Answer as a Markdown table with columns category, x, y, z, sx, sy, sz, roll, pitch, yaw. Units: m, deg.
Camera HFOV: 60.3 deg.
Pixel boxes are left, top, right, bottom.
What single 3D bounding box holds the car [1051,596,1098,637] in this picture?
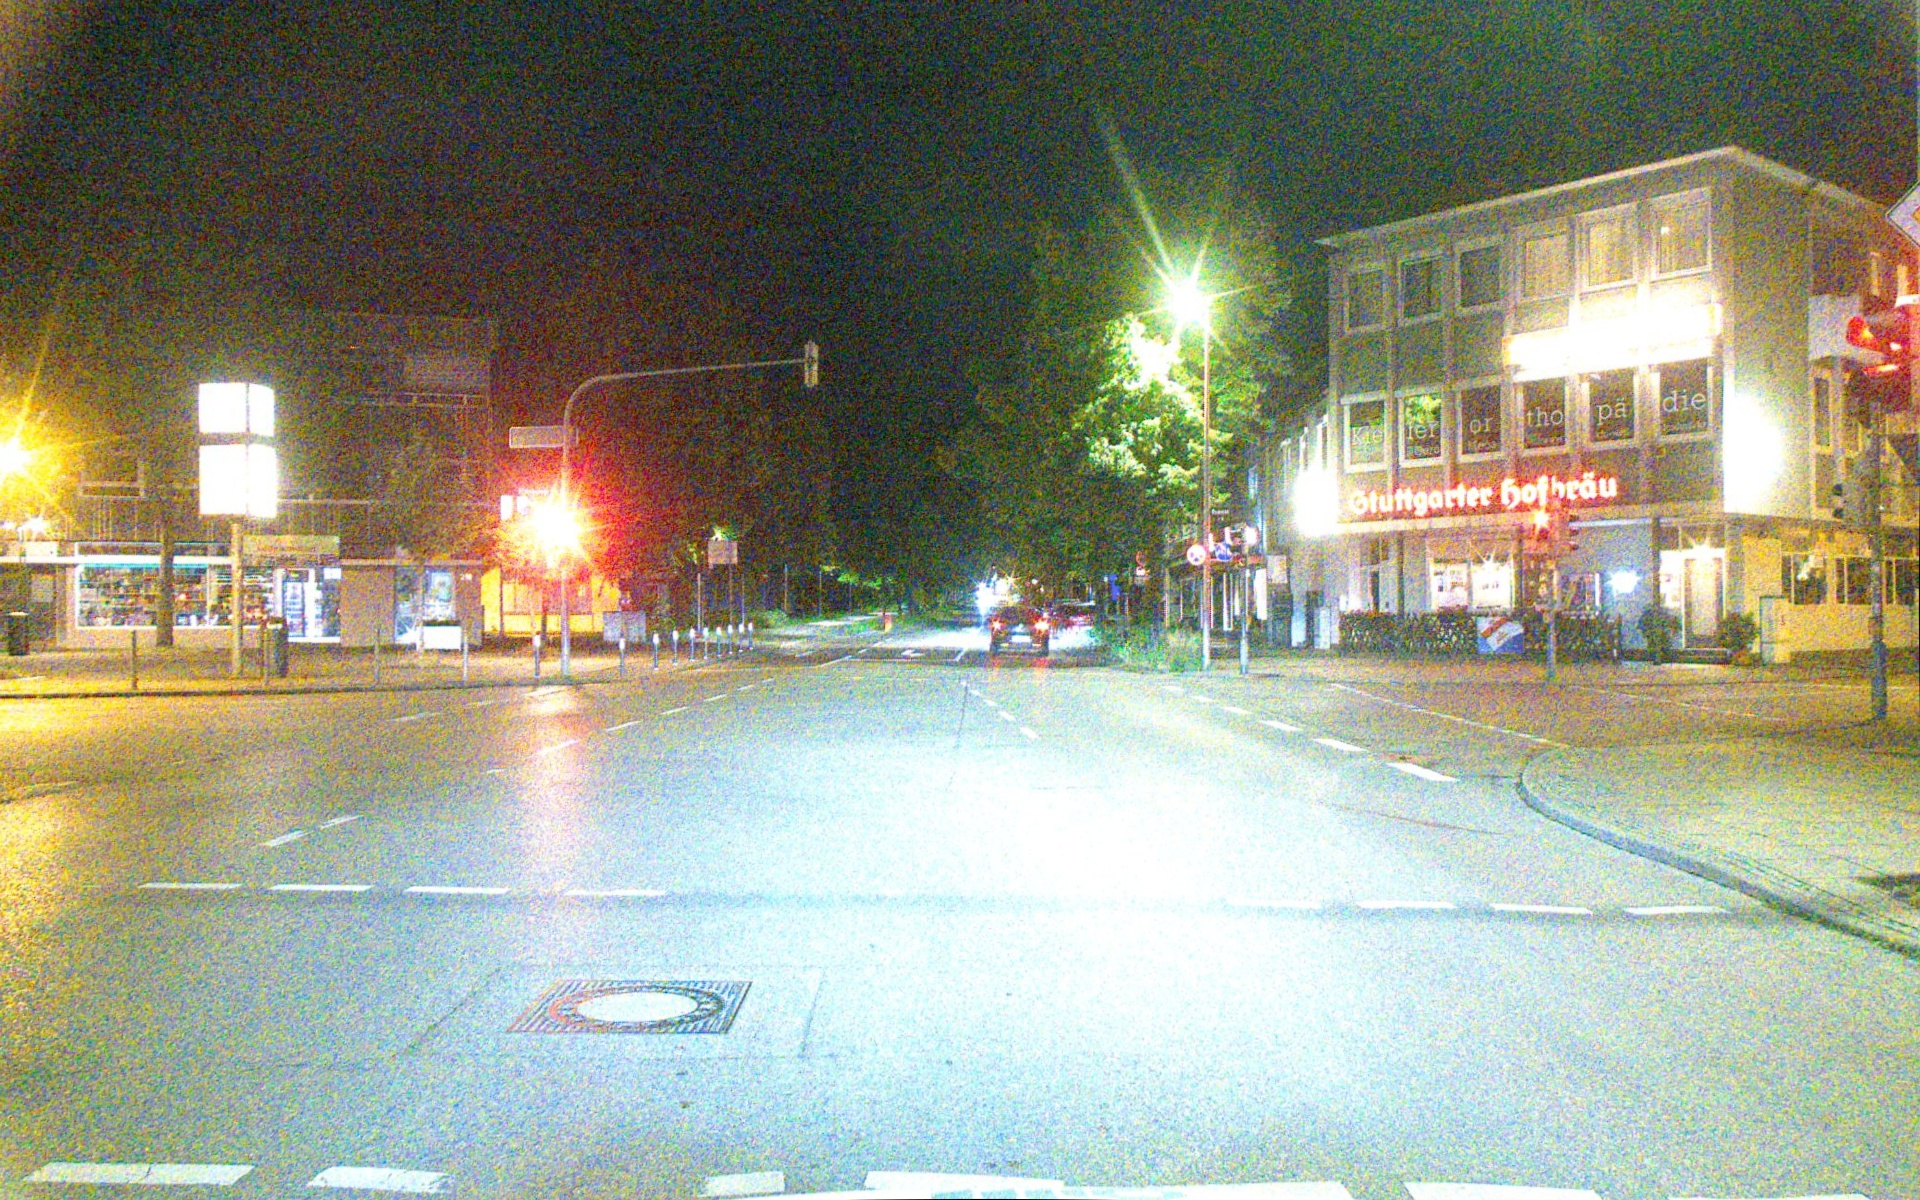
| category | x | y | z | sx | sy | sz | roll | pitch | yaw |
| --- | --- | --- | --- | --- | --- | --- | --- | --- | --- |
| car | 4.730 | 0.679 | 68.858 | 1.837 | 1.643 | 4.001 | 0 | 0 | 2 |

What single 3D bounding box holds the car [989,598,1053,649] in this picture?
| category | x | y | z | sx | sy | sz | roll | pitch | yaw |
| --- | --- | --- | --- | --- | --- | --- | --- | --- | --- |
| car | 1.828 | 0.705 | 50.768 | 1.835 | 1.479 | 4.316 | 1 | 0 | 0 |

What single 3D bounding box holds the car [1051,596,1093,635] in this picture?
| category | x | y | z | sx | sy | sz | roll | pitch | yaw |
| --- | --- | --- | --- | --- | --- | --- | --- | --- | --- |
| car | 5.155 | 0.708 | 76.534 | 1.837 | 1.759 | 4.001 | 0 | 0 | 2 |

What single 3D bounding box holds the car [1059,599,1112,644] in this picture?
| category | x | y | z | sx | sy | sz | roll | pitch | yaw |
| --- | --- | --- | --- | --- | --- | --- | --- | --- | --- |
| car | 4.789 | 0.813 | 63.534 | 1.837 | 1.643 | 4.001 | 0 | 0 | 2 |

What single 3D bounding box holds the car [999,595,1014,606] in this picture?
| category | x | y | z | sx | sy | sz | roll | pitch | yaw |
| --- | --- | --- | --- | --- | --- | --- | --- | --- | --- |
| car | 7.284 | 0.092 | 259.296 | 2.182 | 1.680 | 3.999 | 0 | 0 | -1 |

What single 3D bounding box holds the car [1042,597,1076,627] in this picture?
| category | x | y | z | sx | sy | sz | roll | pitch | yaw |
| --- | --- | --- | --- | --- | --- | --- | --- | --- | --- |
| car | 5.664 | 0.679 | 94.585 | 1.837 | 1.713 | 4.001 | 0 | 0 | 2 |
